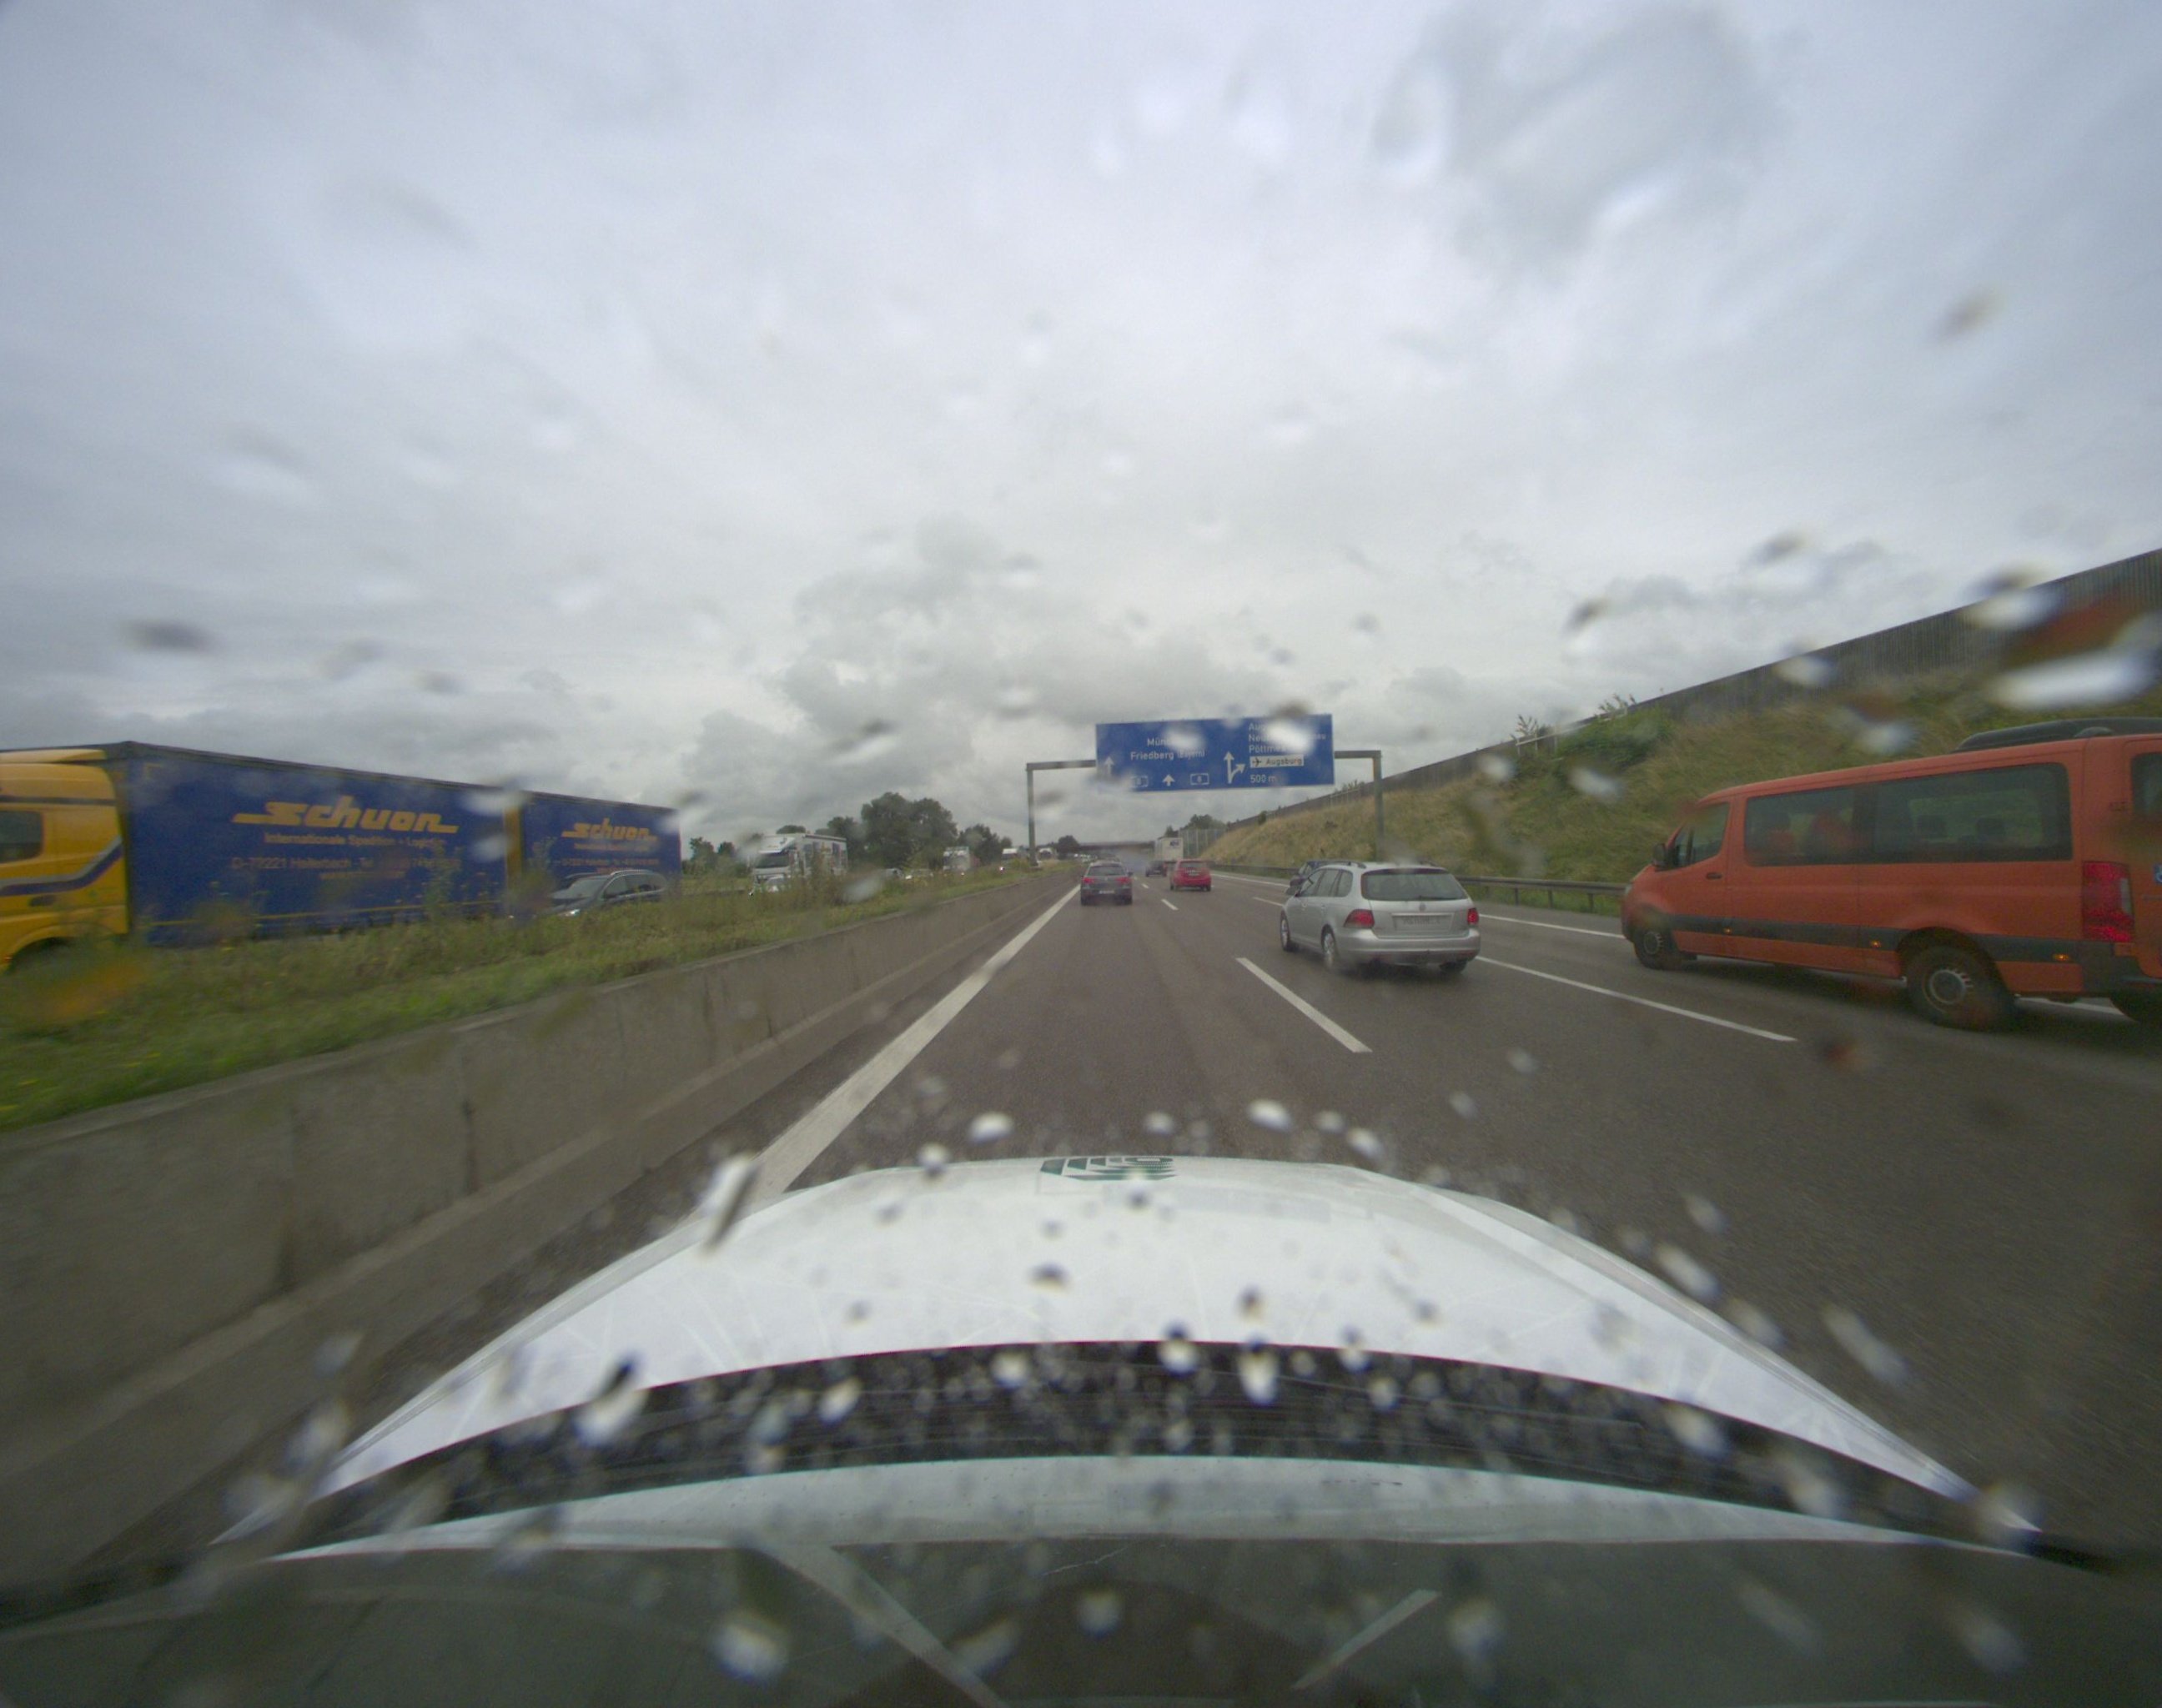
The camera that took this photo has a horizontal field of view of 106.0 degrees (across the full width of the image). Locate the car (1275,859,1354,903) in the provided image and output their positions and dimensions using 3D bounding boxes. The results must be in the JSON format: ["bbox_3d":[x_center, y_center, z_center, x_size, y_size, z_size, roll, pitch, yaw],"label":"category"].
[{"bbox_3d":[7.955,0.888,28.045,1.696,1.401,3.876,0,-1,2],"label":"car"}]

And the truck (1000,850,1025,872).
[{"bbox_3d":[-9.048,0.948,108.251,2.302,2.909,7.428,0,-1,2],"label":"truck"}]

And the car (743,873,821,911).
[{"bbox_3d":[-14.807,1.819,40.633,1.876,1.615,5.015,-2,0,1],"label":"car"}]

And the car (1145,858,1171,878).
[{"bbox_3d":[6.531,1.163,69.330,1.914,1.522,4.623,-1,0,1],"label":"car"}]

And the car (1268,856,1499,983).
[{"bbox_3d":[4.048,0.783,11.751,1.735,1.425,4.518,-2,0,2],"label":"car"}]

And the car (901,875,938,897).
[{"bbox_3d":[-13.780,2.699,69.592,1.986,1.717,4.839,0,-1,2],"label":"car"}]

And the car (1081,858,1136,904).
[{"bbox_3d":[0.910,0.892,28.367,1.762,1.467,4.000,0,-1,1],"label":"car"}]

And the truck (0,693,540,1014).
[{"bbox_3d":[-16.242,0.069,16.110,3.399,4.364,10.995,0,-1,2],"label":"truck"}]

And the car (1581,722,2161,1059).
[{"bbox_3d":[8.274,0.236,8.695,2.079,2.315,6.181,-1,0,1],"label":"car"}]

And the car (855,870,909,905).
[{"bbox_3d":[-10.849,1.766,44.603,1.747,1.707,4.002,-2,0,2],"label":"car"}]

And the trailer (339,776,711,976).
[{"bbox_3d":[-15.979,0.548,25.347,3.375,4.768,11.682,0,0,1],"label":"trailer"}]

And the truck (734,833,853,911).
[{"bbox_3d":[-18.364,1.137,53.206,3.500,4.484,11.786,0,-1,0],"label":"truck"}]

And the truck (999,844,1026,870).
[{"bbox_3d":[-11.556,0.471,138.508,3.601,4.275,7.595,0,-1,2],"label":"truck"}]

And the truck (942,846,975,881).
[{"bbox_3d":[-13.869,1.016,92.502,2.631,3.725,5.875,0,1,2],"label":"truck"}]

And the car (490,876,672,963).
[{"bbox_3d":[-12.126,1.520,20.127,1.859,1.784,4.002,-2,-1,2],"label":"car"}]

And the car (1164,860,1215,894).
[{"bbox_3d":[5.161,1.050,39.176,1.884,1.446,4.685,-1,0,1],"label":"car"}]

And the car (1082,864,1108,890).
[{"bbox_3d":[1.001,1.561,56.183,1.748,1.750,4.001,0,-1,1],"label":"car"}]

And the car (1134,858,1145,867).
[{"bbox_3d":[11.191,1.554,155.424,1.839,1.687,4.001,0,-1,1],"label":"car"}]

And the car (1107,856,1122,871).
[{"bbox_3d":[4.265,1.186,104.690,1.699,1.796,3.855,-3,0,0],"label":"car"}]

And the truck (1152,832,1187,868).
[{"bbox_3d":[11.707,-0.364,109.492,3.271,4.295,19.039,0,-1,2],"label":"truck"}]

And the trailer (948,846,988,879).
[{"bbox_3d":[-13.575,0.902,98.983,2.630,3.725,12.201,0,1,2],"label":"trailer"}]

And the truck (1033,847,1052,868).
[{"bbox_3d":[-7.562,0.678,159.569,3.080,3.976,6.375,0,-1,2],"label":"truck"}]
